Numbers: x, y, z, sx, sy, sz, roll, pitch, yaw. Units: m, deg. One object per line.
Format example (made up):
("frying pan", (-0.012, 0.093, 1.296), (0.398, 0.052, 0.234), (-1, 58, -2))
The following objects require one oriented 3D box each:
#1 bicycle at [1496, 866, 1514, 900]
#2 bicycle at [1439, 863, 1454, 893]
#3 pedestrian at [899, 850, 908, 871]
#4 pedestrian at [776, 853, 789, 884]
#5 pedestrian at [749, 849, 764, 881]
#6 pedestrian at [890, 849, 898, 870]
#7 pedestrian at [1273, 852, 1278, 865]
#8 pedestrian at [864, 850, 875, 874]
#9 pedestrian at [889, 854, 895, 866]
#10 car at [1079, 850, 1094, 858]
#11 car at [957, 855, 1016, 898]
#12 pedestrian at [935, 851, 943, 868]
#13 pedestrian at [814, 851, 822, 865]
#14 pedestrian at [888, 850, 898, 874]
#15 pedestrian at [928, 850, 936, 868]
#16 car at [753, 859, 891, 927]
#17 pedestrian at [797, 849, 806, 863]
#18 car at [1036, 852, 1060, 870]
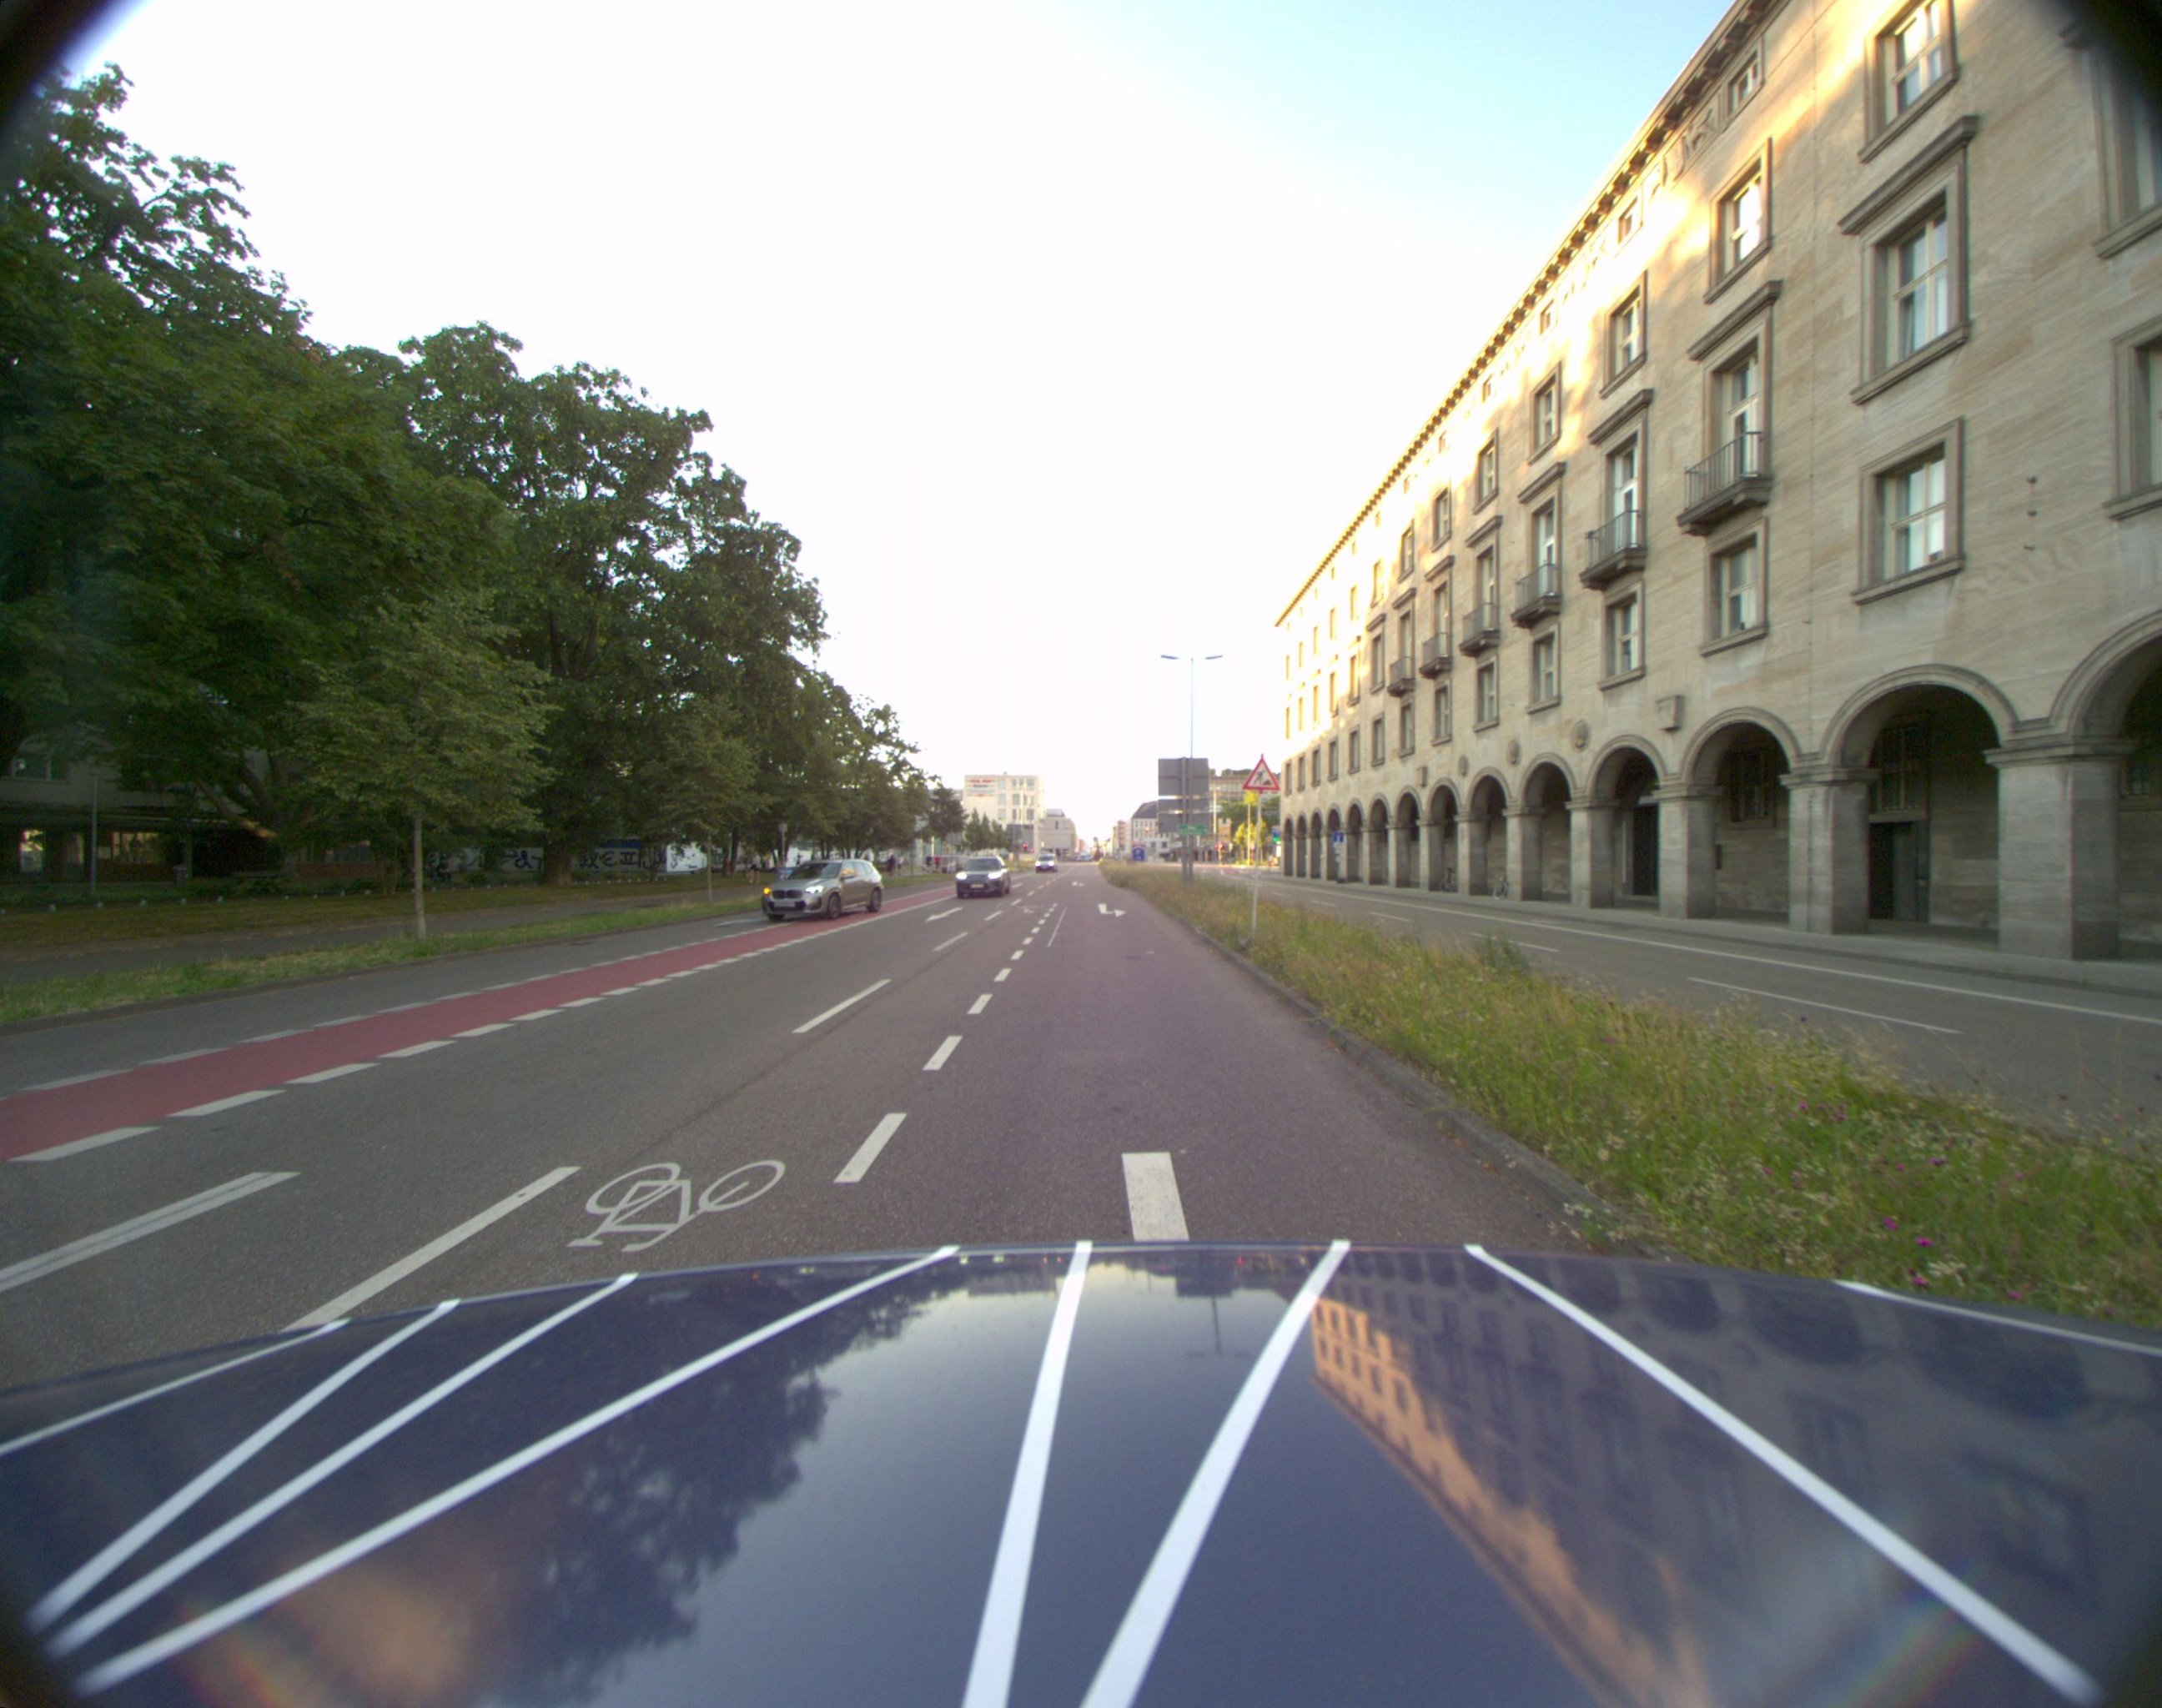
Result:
("bicycle", (15.505, 1.031, 27.779), (0.513, 1.115, 2.427), (0, 1, 30))
("bicycle", (15.454, 1.001, 32.149), (0.513, 1.172, 2.427), (0, 0, 25))
("pedestrian", (-14.336, 0.522, 61.392), (0.509, 1.720, 0.719), (0, 1, 1))
("pedestrian", (-15.245, 0.749, 38.834), (0.500, 1.592, 0.365), (0, 1, 1))
("pedestrian", (-16.476, 0.555, 38.573), (0.500, 1.592, 0.522), (0, 1, 1))
("pedestrian", (-15.170, 0.461, 61.648), (0.519, 1.720, 0.719), (0, 1, 1))
("pedestrian", (24.193, 0.564, 94.469), (0.526, 1.532, 0.390), (0, 1, 1))
("pedestrian", (-15.078, 0.581, 54.185), (0.509, 1.720, 0.719), (0, 1, 1))
("pedestrian", (-20.846, 0.656, 83.766), (0.509, 1.347, 0.435), (0, 1, 1))
("car", (1.569, -0.045, 218.165), (1.994, 2.297, 5.099), (0, 0, 29))
("car", (-3.790, 0.851, 31.086), (1.782, 1.617, 4.215), (-1, 0, 1))
("pedestrian", (-13.921, 0.534, 74.428), (0.638, 1.747, 0.506), (0, 1, 1))
("pedestrian", (-26.406, 0.377, 76.336), (0.662, 1.347, 0.559), (0, 1, 1))
("pedestrian", (-13.484, 0.586, 54.565), (0.558, 1.729, 0.555), (0, 1, 1))
("pedestrian", (-14.628, 0.511, 74.484), (0.638, 1.747, 0.506), (0, 1, 1))
("car", (-7.105, 1.006, 21.375), (1.825, 1.612, 4.339), (-2, 0, 9))
("pedestrian", (-27.875, 0.206, 75.812), (0.631, 1.347, 0.681), (0, 1, 1))
("car", (-3.131, 0.610, 73.017), (1.781, 1.676, 4.217), (0, 0, 5))
